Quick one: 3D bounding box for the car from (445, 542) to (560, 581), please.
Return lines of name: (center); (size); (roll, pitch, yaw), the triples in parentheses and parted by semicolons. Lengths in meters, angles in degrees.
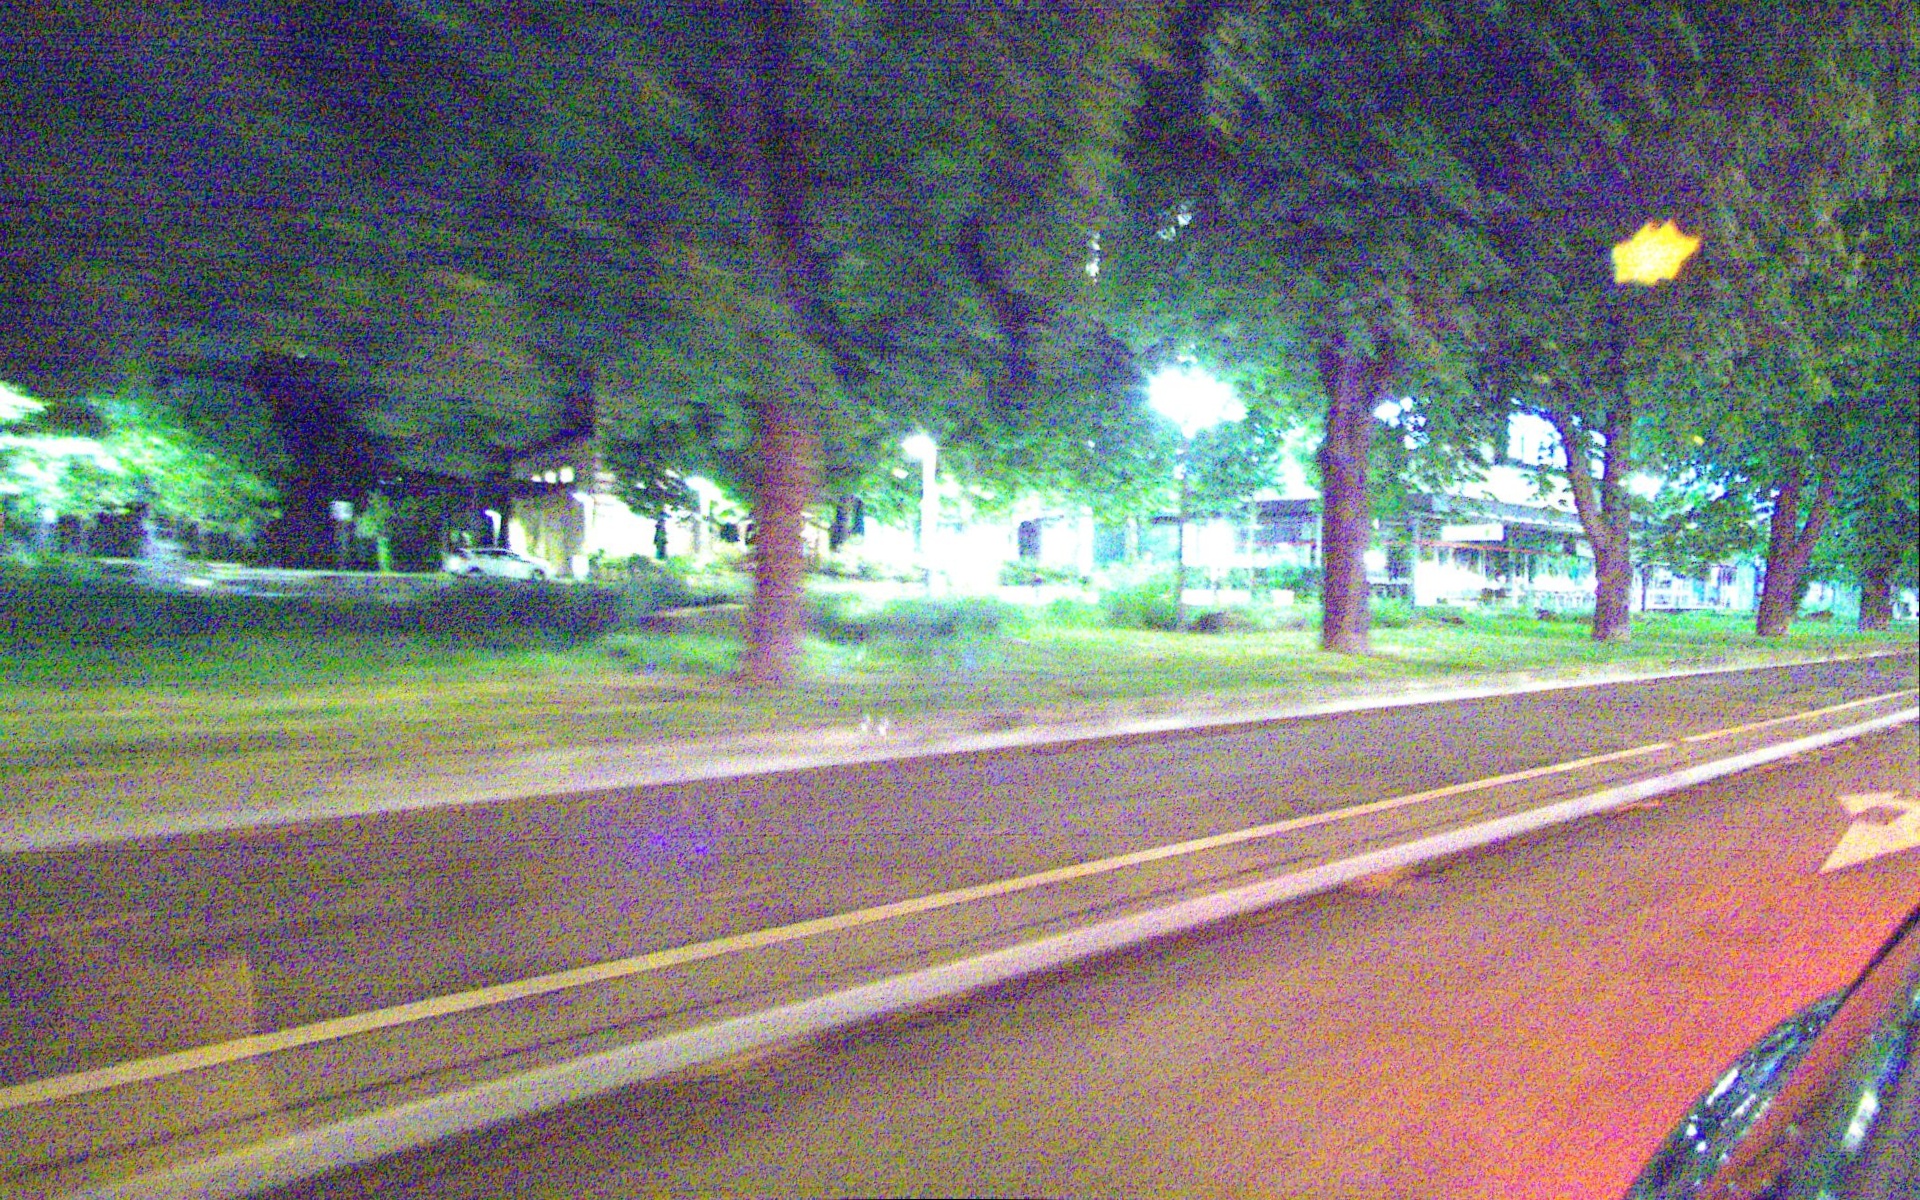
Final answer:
car: (-19.990, -1.672, 44.288); (4.221, 1.526, 2.000); (0, 3, -37)
